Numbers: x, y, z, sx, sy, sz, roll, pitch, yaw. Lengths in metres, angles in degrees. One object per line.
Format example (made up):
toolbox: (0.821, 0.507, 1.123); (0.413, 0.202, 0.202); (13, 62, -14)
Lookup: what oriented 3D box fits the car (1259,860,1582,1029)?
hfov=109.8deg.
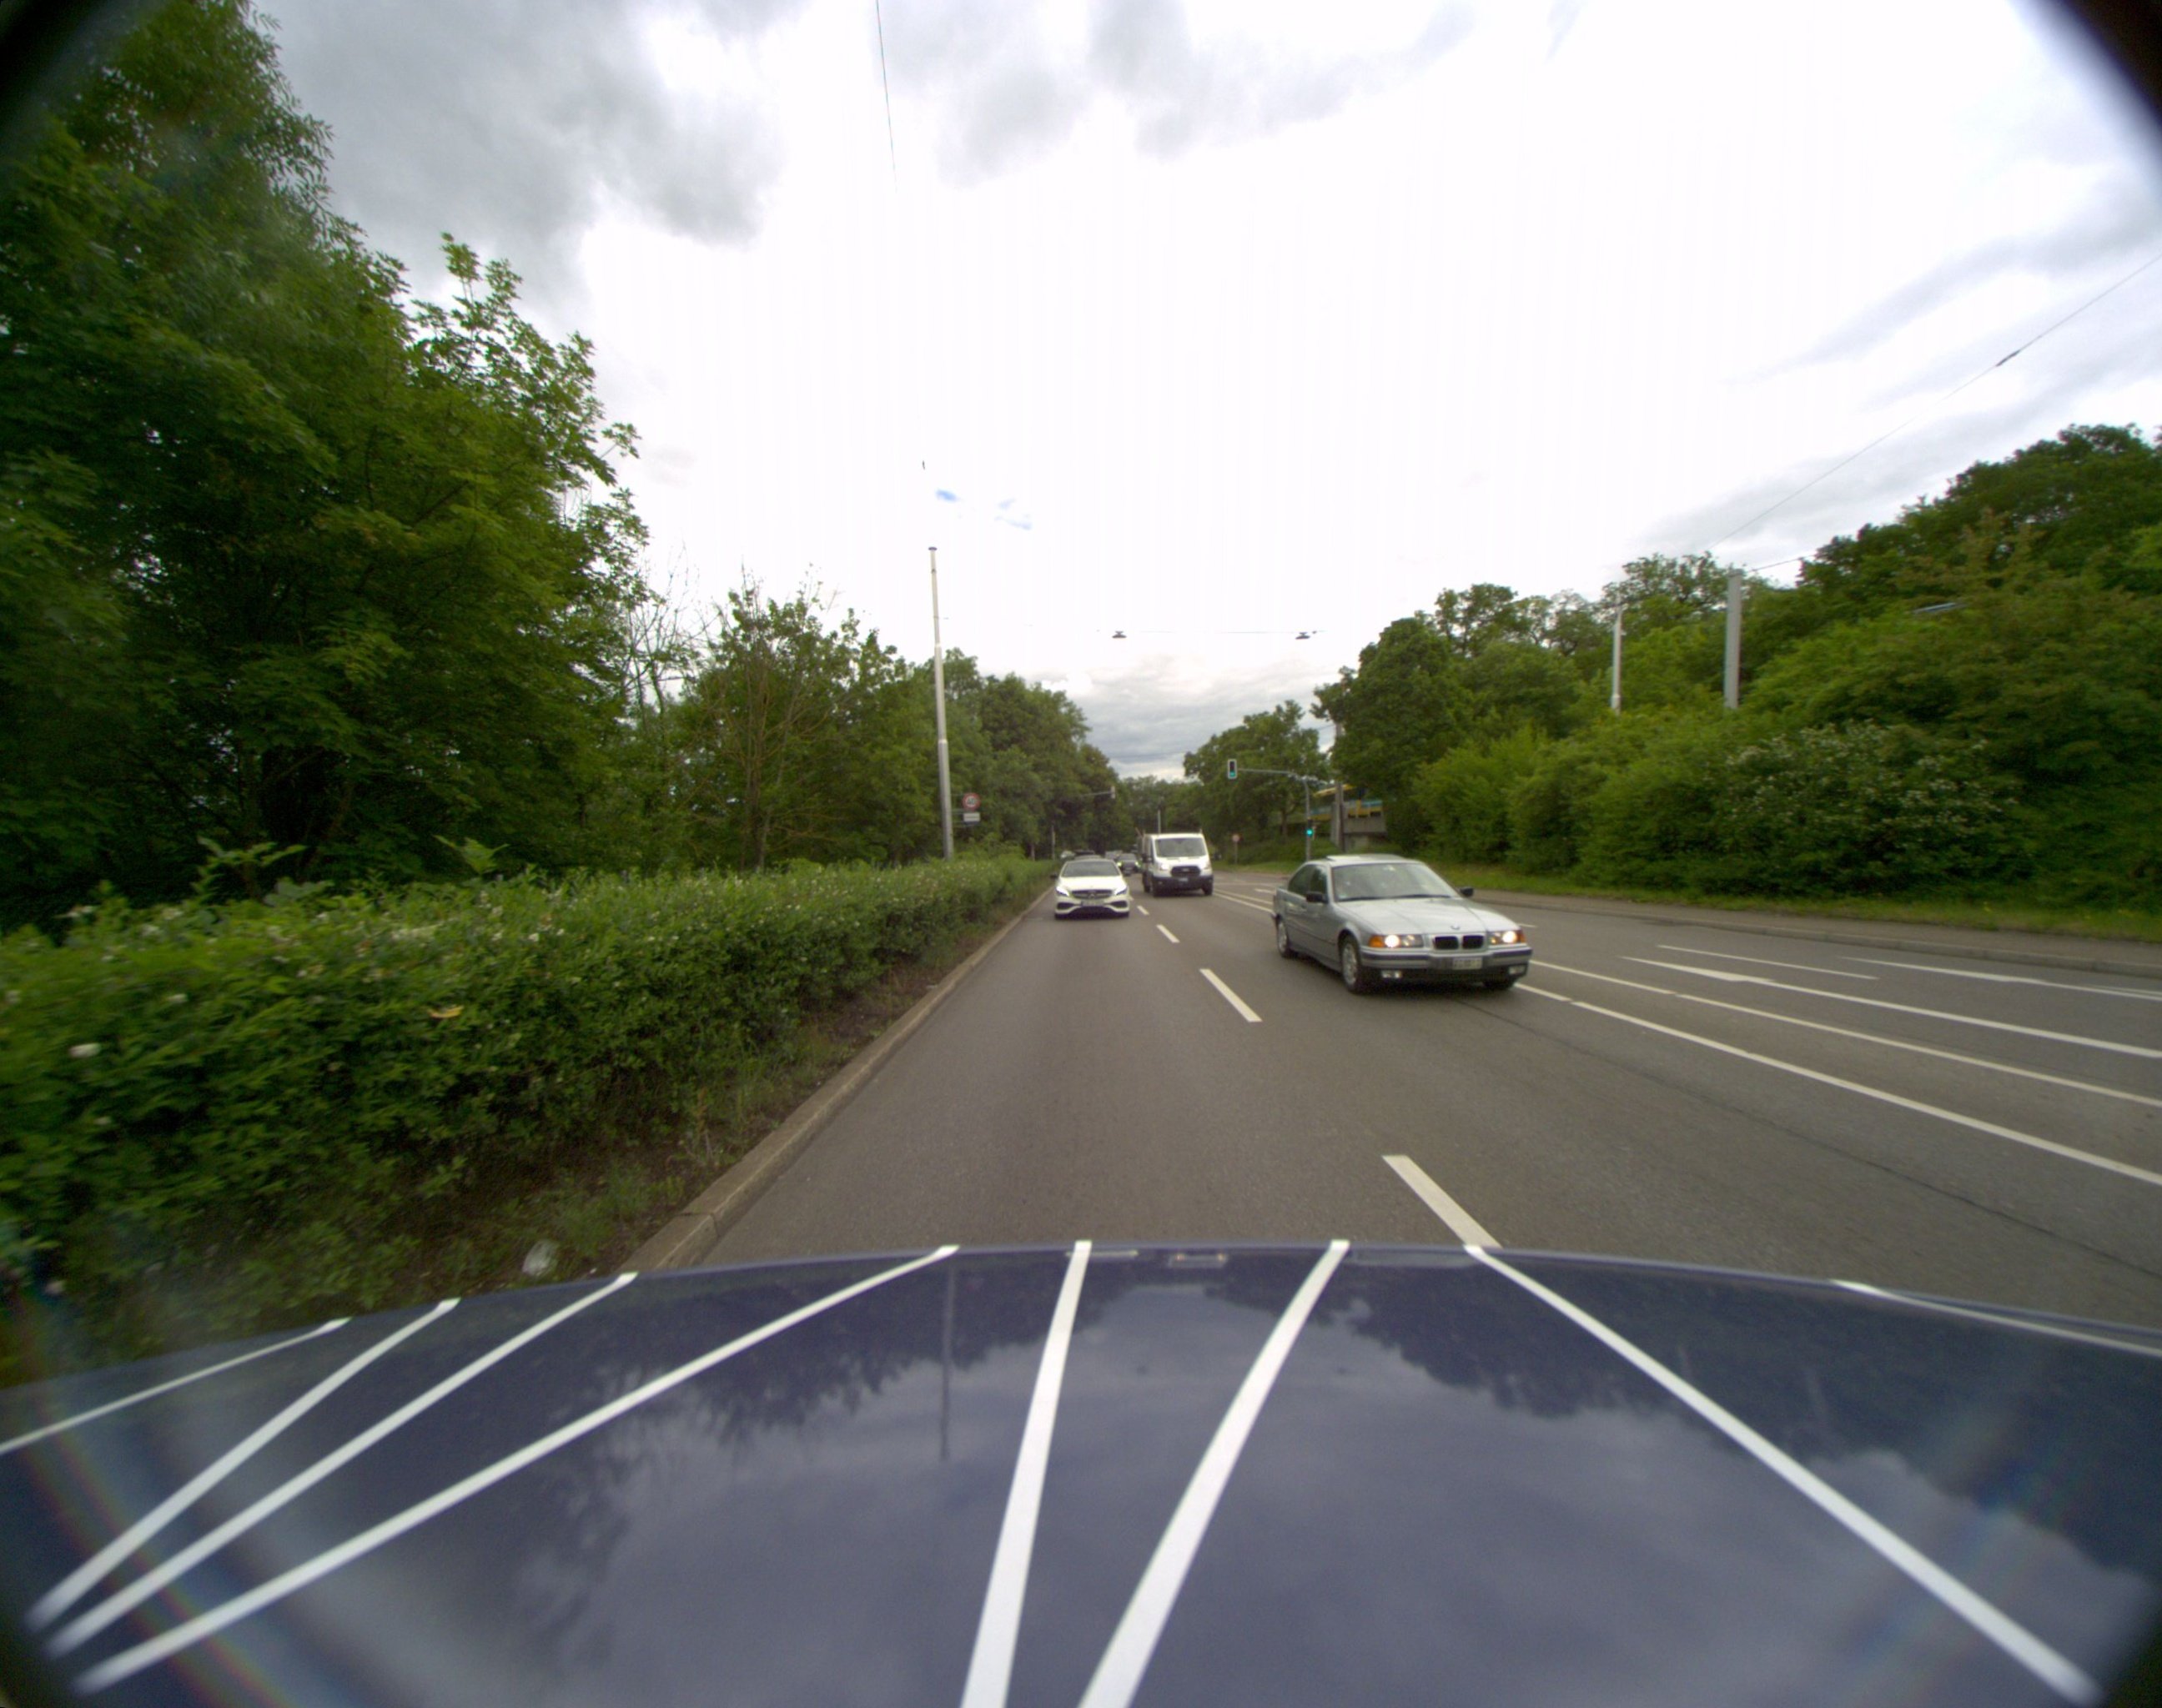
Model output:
car: (3.509, 0.813, 8.952); (1.757, 1.385, 4.614); (-1, 0, 0)

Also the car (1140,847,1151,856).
car: (13.534, -0.544, 158.193); (1.761, 1.863, 4.618); (-1, 0, 11)

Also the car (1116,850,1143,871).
car: (3.699, 0.464, 58.470); (1.678, 1.532, 4.614); (-2, 0, -1)

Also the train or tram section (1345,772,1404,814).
train or tram section: (24.242, -4.945, 63.148); (2.062, 3.026, 8.152); (-3, 2, 4)

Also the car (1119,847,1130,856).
car: (7.806, -0.433, 135.792); (1.677, 1.532, 4.616); (-1, 0, 5)

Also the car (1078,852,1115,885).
car: (0.703, 0.674, 38.113); (1.678, 1.532, 4.614); (-1, 0, -1)

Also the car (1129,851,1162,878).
car: (3.871, 0.593, 46.131); (1.677, 1.532, 4.553); (-1, 0, 1)

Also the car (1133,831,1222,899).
car: (3.376, 0.335, 28.093); (2.253, 2.113, 6.668); (-2, 0, -1)

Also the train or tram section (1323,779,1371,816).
train or tram section: (24.827, -5.173, 71.312); (2.062, 3.026, 8.152); (-3, 2, 4)

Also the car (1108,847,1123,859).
car: (4.380, -0.174, 97.774); (1.678, 1.532, 4.614); (-1, 0, -1)

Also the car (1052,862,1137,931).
car: (0.306, 0.944, 18.591); (1.807, 1.385, 4.283); (-1, 0, 0)

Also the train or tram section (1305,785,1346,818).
train or tram section: (25.447, -5.384, 79.448); (2.062, 3.026, 8.152); (-3, 2, 4)
